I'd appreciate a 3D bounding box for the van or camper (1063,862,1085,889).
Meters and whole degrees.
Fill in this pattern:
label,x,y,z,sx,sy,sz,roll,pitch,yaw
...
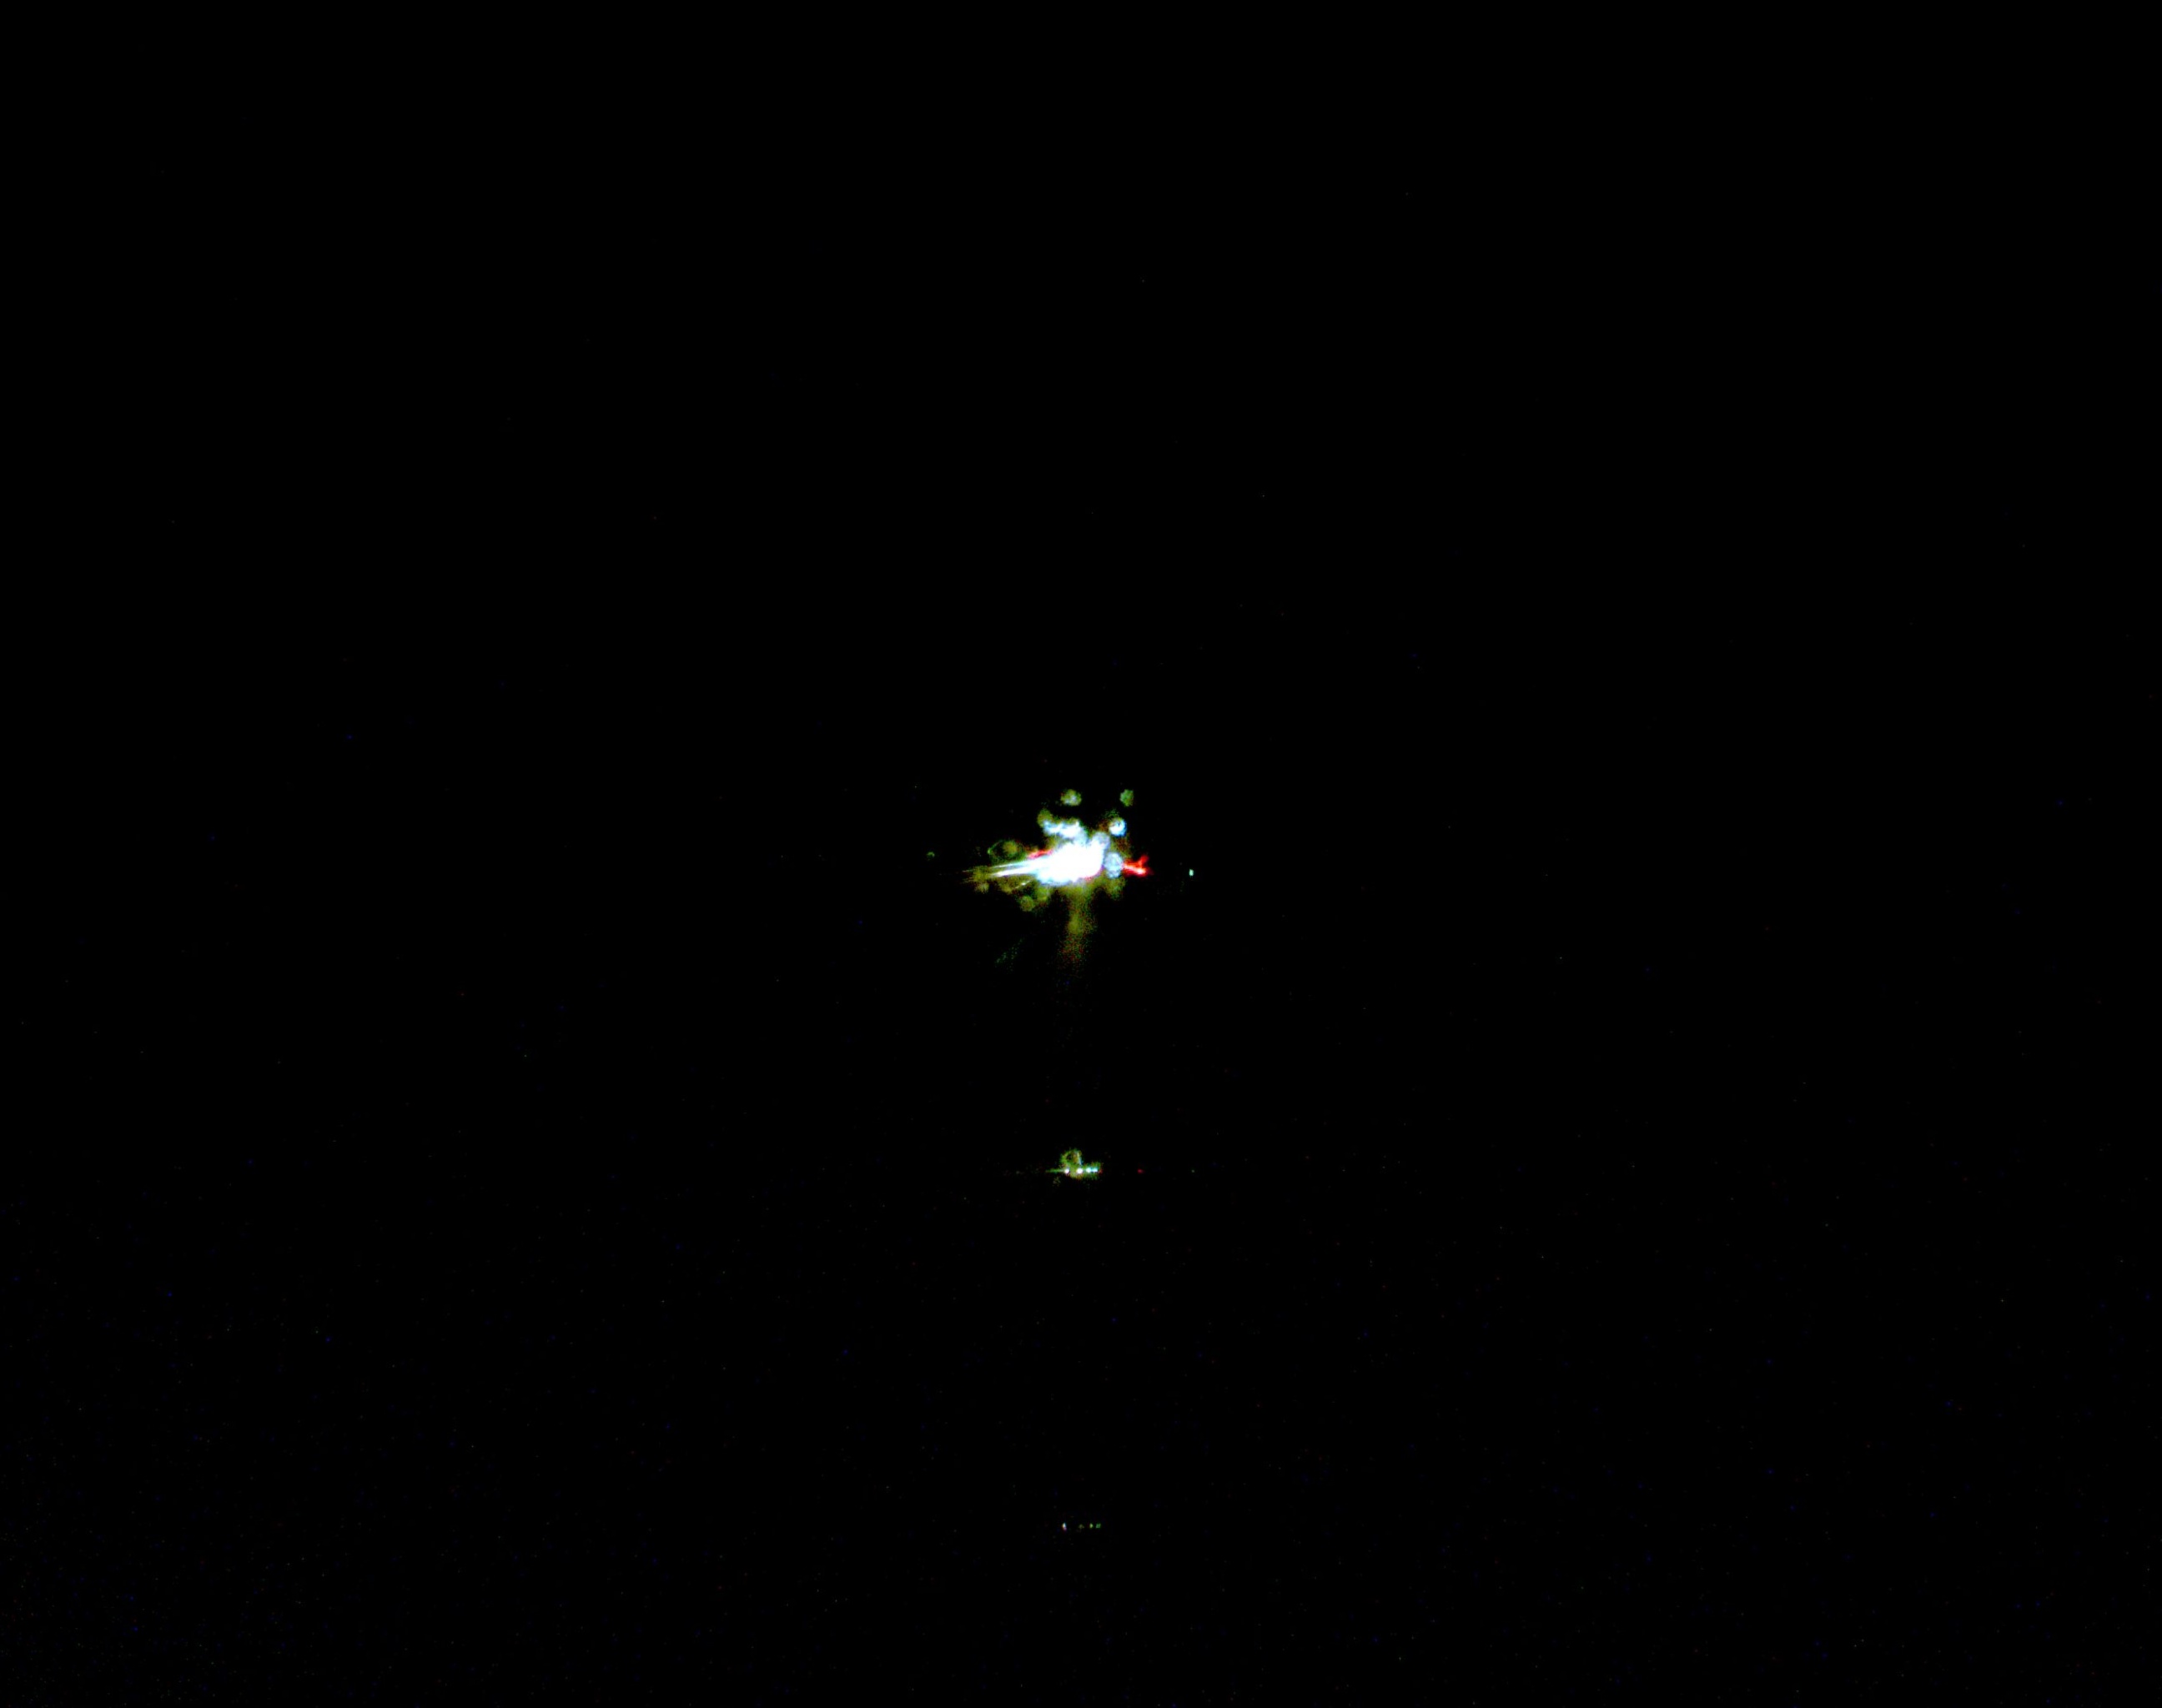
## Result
label,x,y,z,sx,sy,sz,roll,pitch,yaw
van or camper,-0.714,2.299,87.473,2.117,2.565,5.782,-4,0,-1

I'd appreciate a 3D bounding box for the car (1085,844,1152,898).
label,x,y,z,sx,sy,sz,roll,pitch,yaw
car,1.534,0.698,33.161,2.448,1.958,4.914,-2,-1,2
